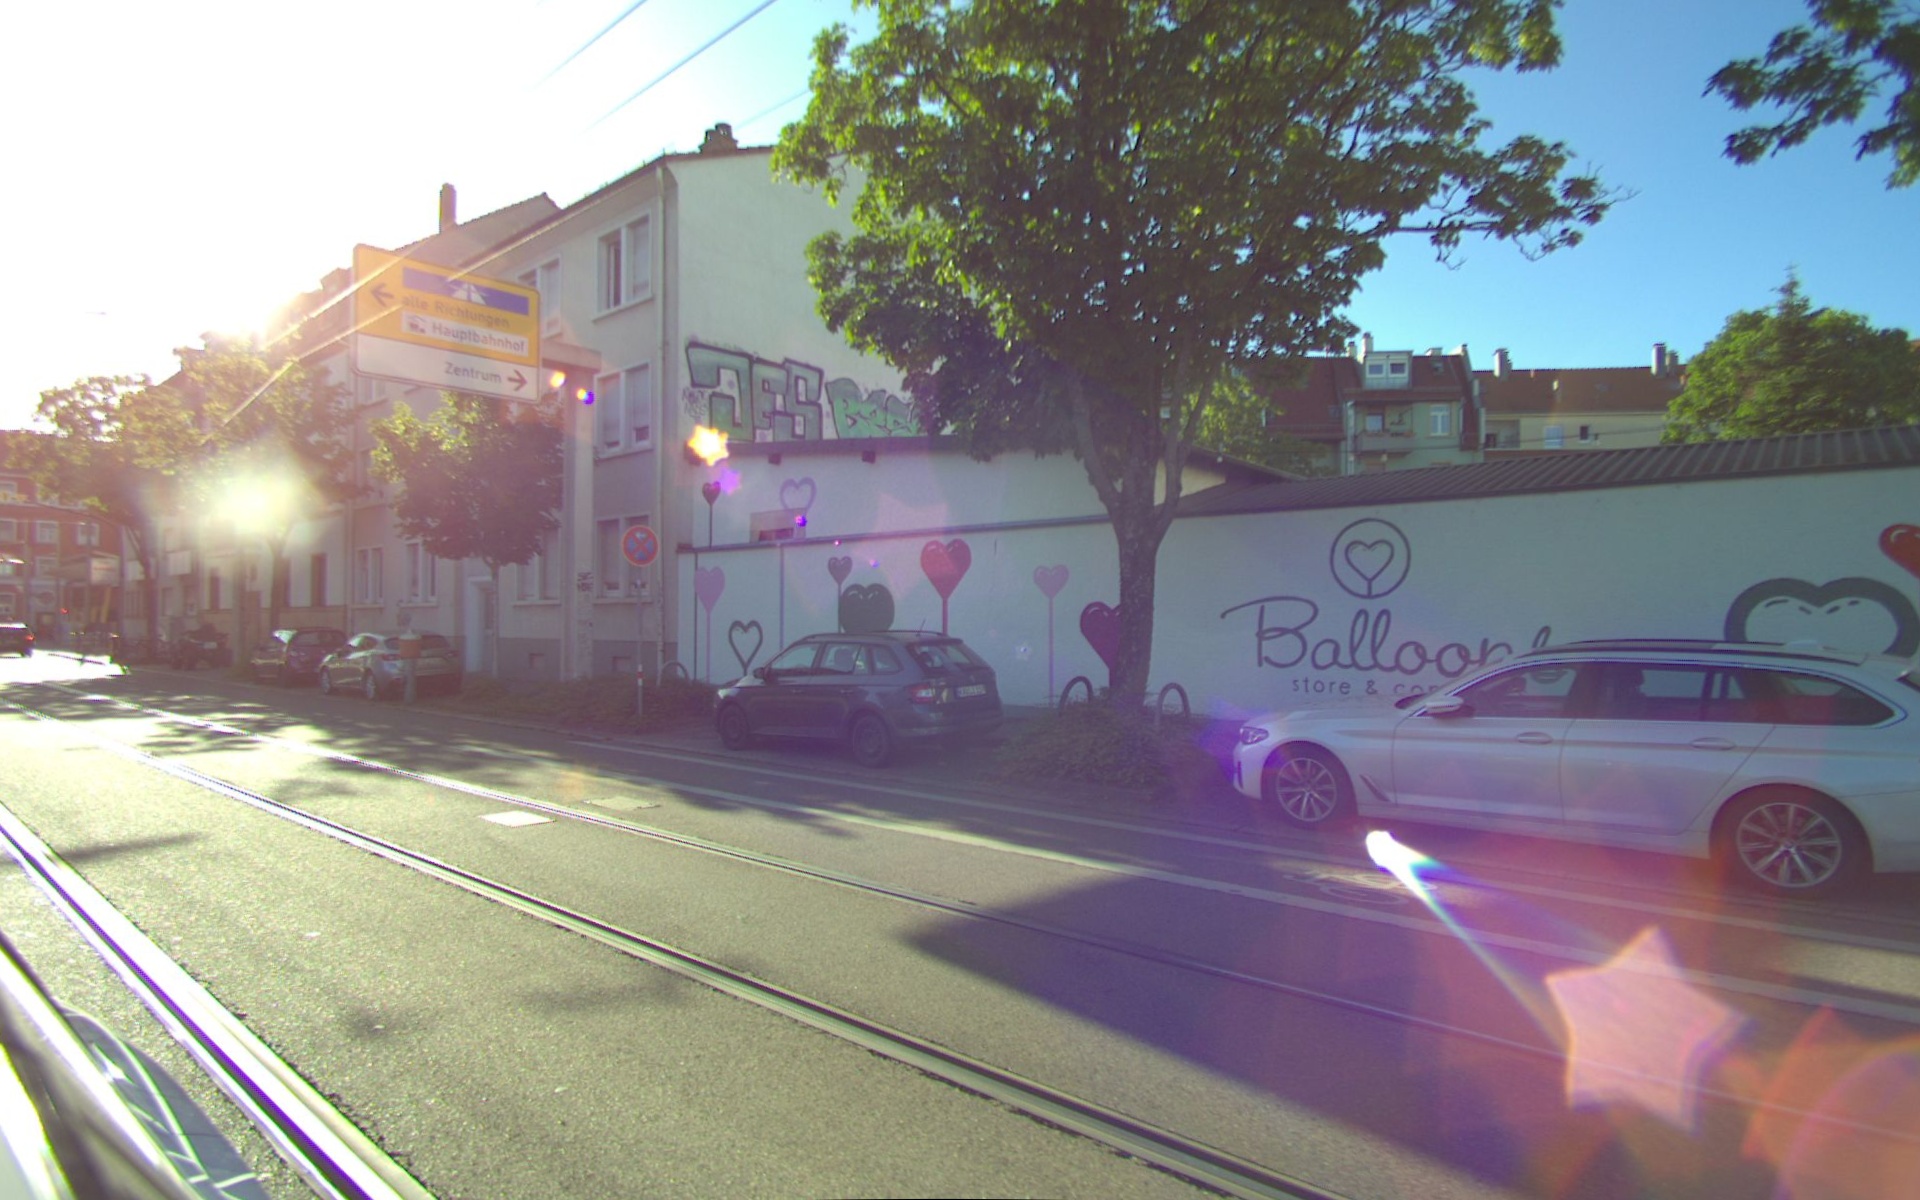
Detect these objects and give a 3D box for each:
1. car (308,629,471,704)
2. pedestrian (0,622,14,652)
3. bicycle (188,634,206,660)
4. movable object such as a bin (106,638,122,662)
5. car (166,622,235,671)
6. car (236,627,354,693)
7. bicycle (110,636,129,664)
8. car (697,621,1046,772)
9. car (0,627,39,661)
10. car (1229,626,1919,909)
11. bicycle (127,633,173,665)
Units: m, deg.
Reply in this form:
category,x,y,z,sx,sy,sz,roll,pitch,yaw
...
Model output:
category,x,y,z,sx,sy,sz,roll,pitch,yaw
car,-12.739,1.390,22.491,4.291,1.440,1.854,-1,-1,41
pedestrian,-58.094,2.239,61.637,0.583,1.787,0.631,-1,-1,41
bicycle,-32.253,1.969,42.770,1.661,1.050,0.300,-1,-1,41
movable object such as a bin,-33.739,1.983,40.364,0.582,0.942,0.420,-1,-1,41
car,-25.503,1.566,33.964,2.545,1.514,1.341,-5,-3,41
car,-17.291,1.494,26.259,3.998,1.516,1.555,-1,-1,41
bicycle,-32.771,1.932,39.446,1.661,1.050,0.300,-1,-1,41
car,-1.212,1.020,12.363,4.303,1.497,1.754,-1,-1,41
car,-43.954,1.977,46.515,4.743,1.474,1.748,-1,-2,40
car,4.549,0.970,7.427,4.658,1.502,1.845,-1,-1,41
bicycle,-31.088,1.865,38.868,0.409,1.178,1.326,-1,-1,41
